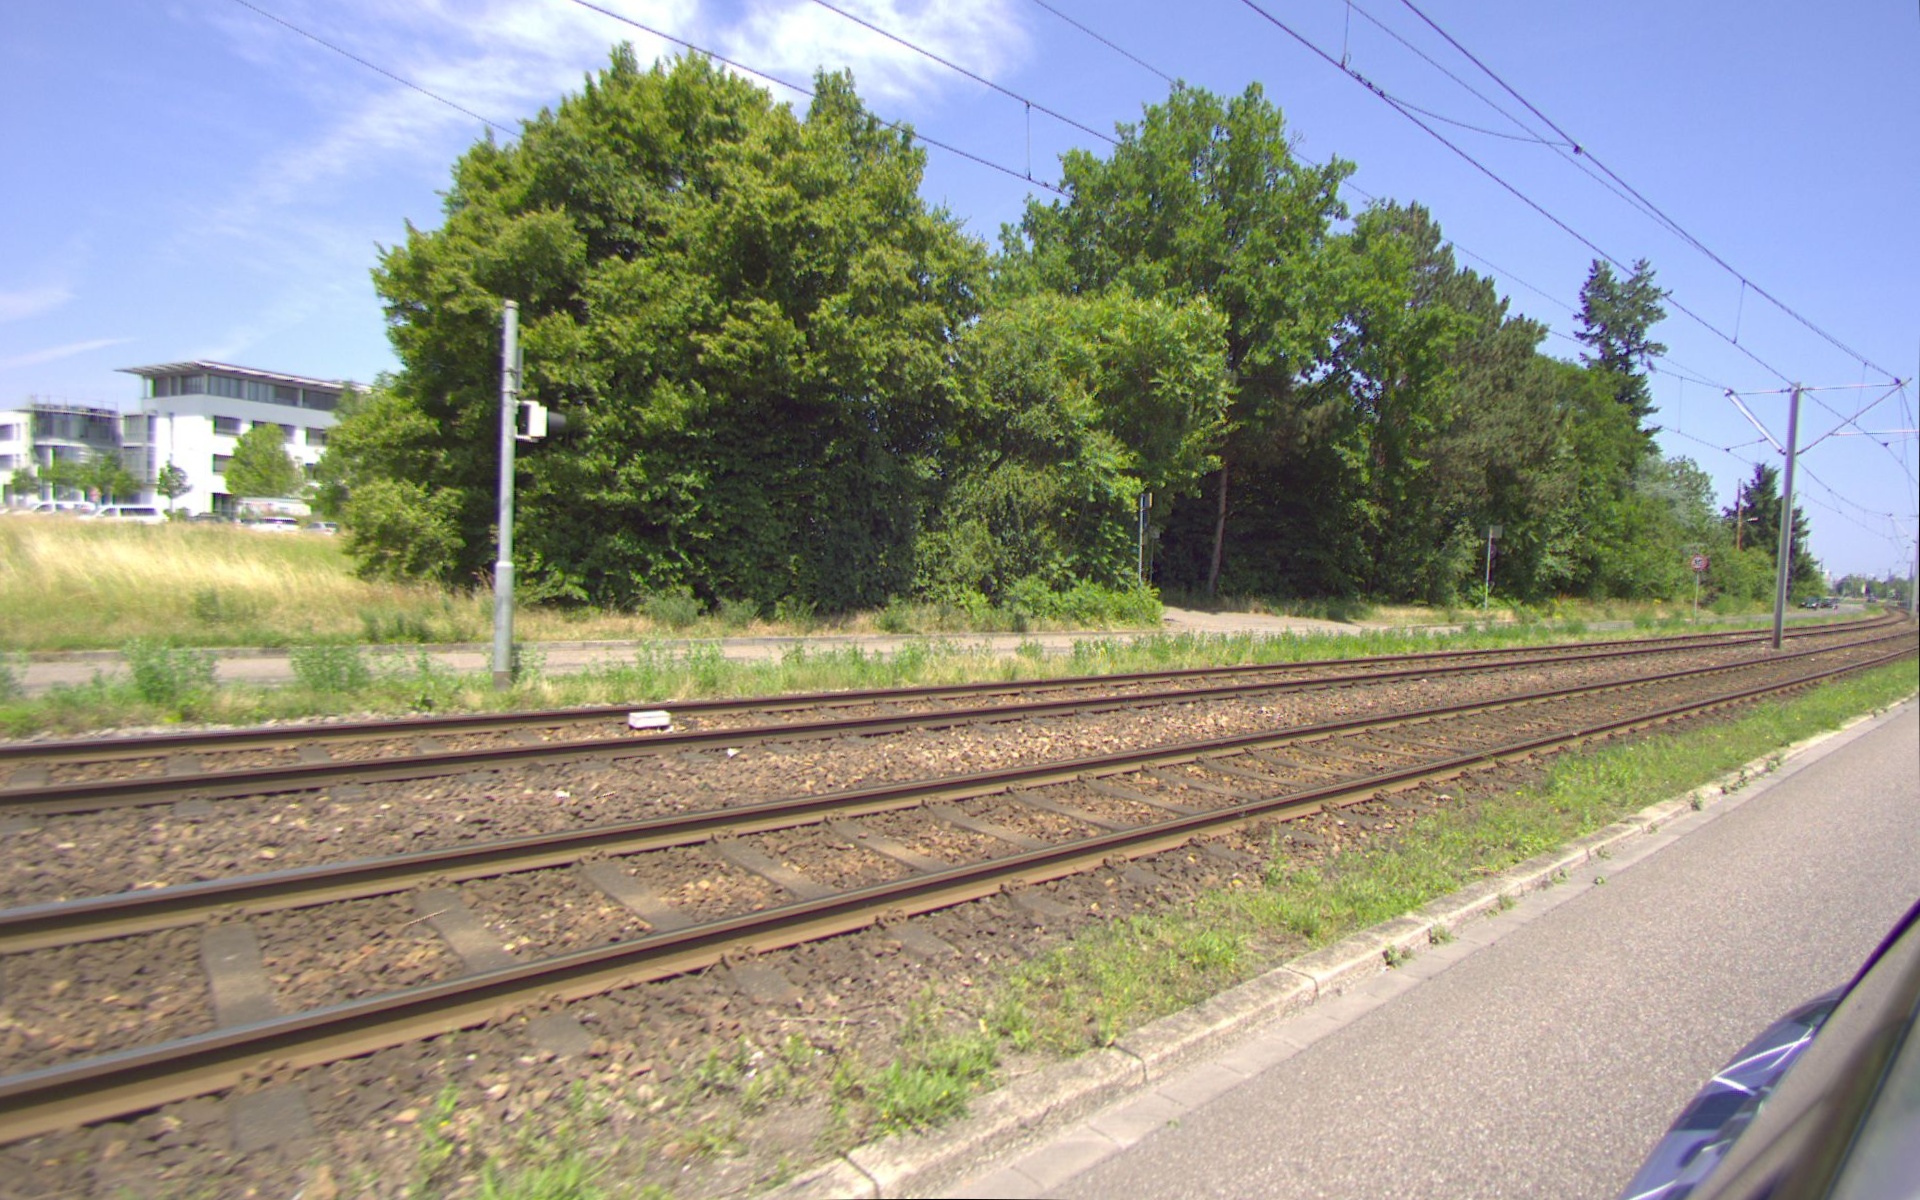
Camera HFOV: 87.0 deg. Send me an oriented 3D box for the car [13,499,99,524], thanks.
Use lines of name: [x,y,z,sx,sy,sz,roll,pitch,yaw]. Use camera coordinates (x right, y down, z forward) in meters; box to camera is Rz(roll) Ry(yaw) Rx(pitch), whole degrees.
car: [-64.819,-6.318,72.613,1.823,1.596,4.312,3,3,34]

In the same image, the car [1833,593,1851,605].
car: [124.810,-0.167,143.176,1.940,1.716,3.939,0,1,42]

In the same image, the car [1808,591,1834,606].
car: [102.361,-0.193,120.319,3.933,1.742,1.995,-1,1,-44]

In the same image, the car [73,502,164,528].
car: [-55.411,-5.581,66.693,1.823,1.471,4.312,3,3,34]
